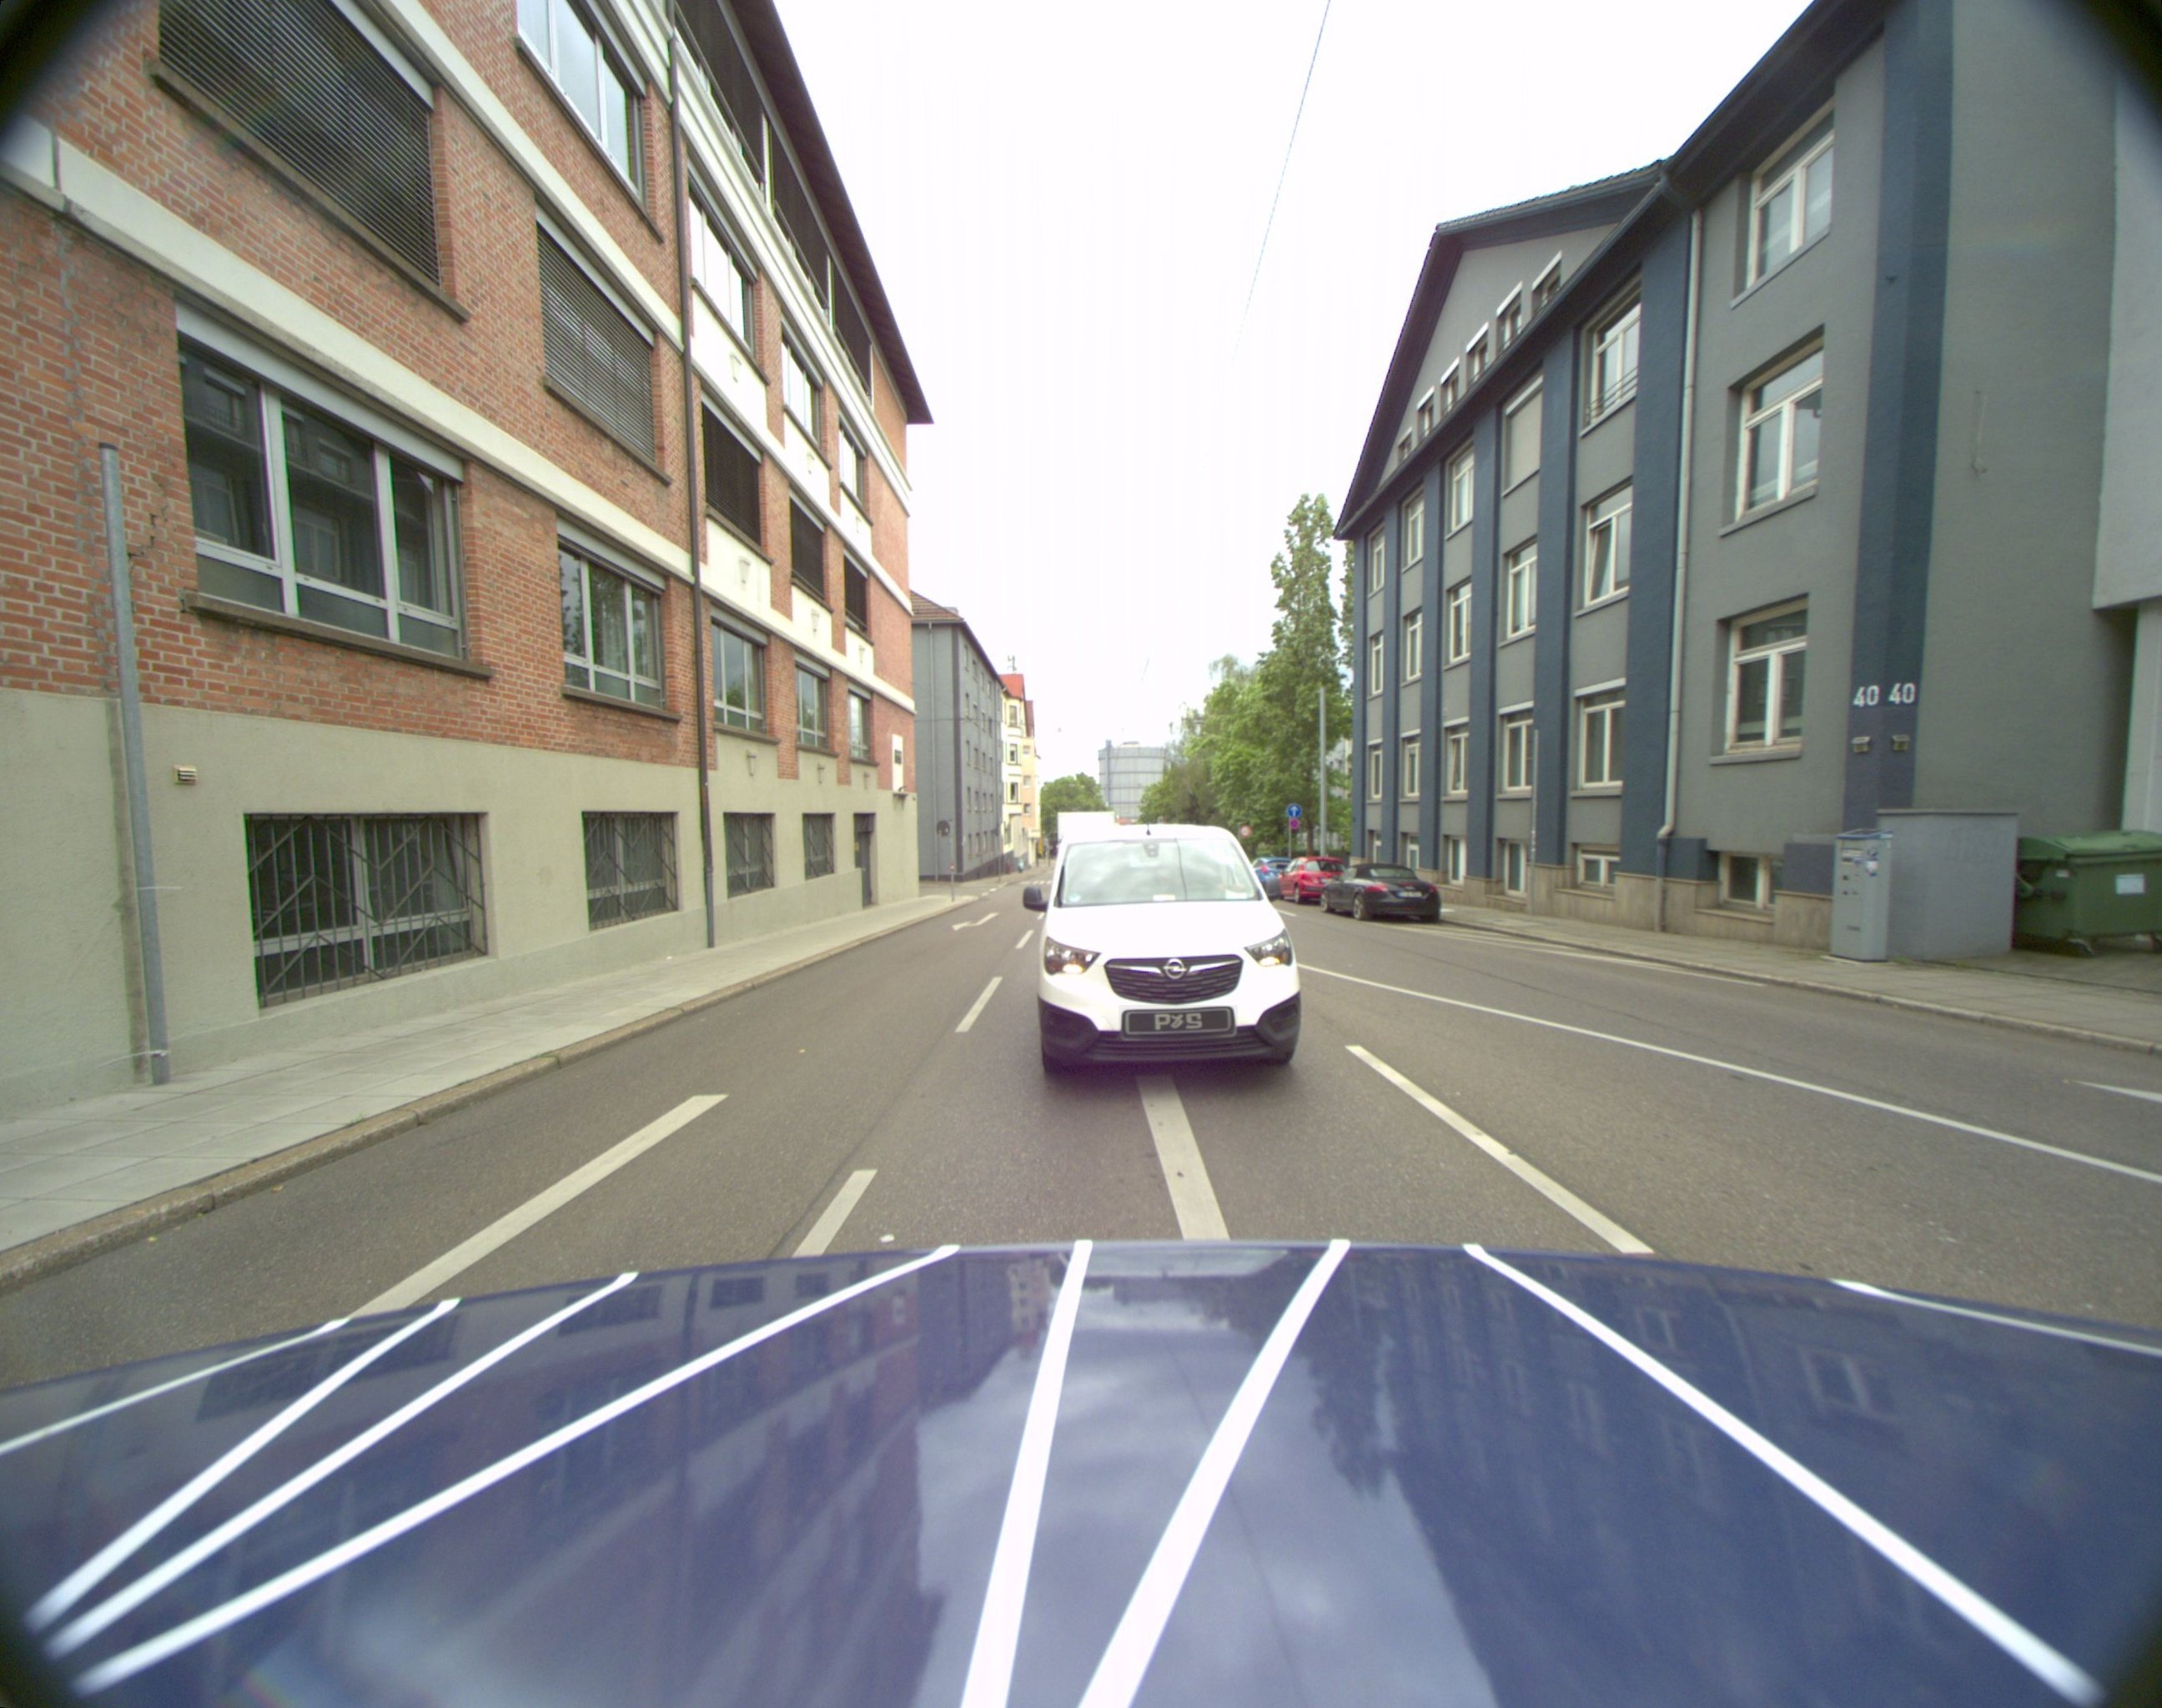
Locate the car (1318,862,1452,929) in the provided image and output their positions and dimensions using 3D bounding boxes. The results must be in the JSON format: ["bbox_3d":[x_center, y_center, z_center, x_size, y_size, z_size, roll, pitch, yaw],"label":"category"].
[{"bbox_3d":[7.217,0.921,18.470,1.801,1.384,3.729,0,1,1],"label":"car"}]

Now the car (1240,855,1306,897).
[{"bbox_3d":[7.471,0.822,29.878,1.644,1.441,3.729,-2,1,1],"label":"car"}]

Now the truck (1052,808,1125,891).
[{"bbox_3d":[0.390,-0.256,36.574,2.969,3.409,8.879,-2,1,1],"label":"truck"}]

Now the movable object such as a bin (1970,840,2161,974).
[{"bbox_3d":[12.056,0.600,9.252,1.229,1.498,1.040,-2,1,1],"label":"movable object such as a bin"}]

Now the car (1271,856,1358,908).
[{"bbox_3d":[7.378,0.836,24.360,1.644,1.441,3.729,-2,1,1],"label":"car"}]

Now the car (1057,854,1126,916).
[{"bbox_3d":[0.305,0.823,21.900,1.739,1.519,3.999,-2,1,1],"label":"car"}]

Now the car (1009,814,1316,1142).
[{"bbox_3d":[0.509,0.715,6.475,1.739,1.875,3.999,-2,1,1],"label":"car"}]

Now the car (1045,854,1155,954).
[{"bbox_3d":[0.345,0.813,14.408,1.739,1.519,3.999,-2,1,1],"label":"car"}]
